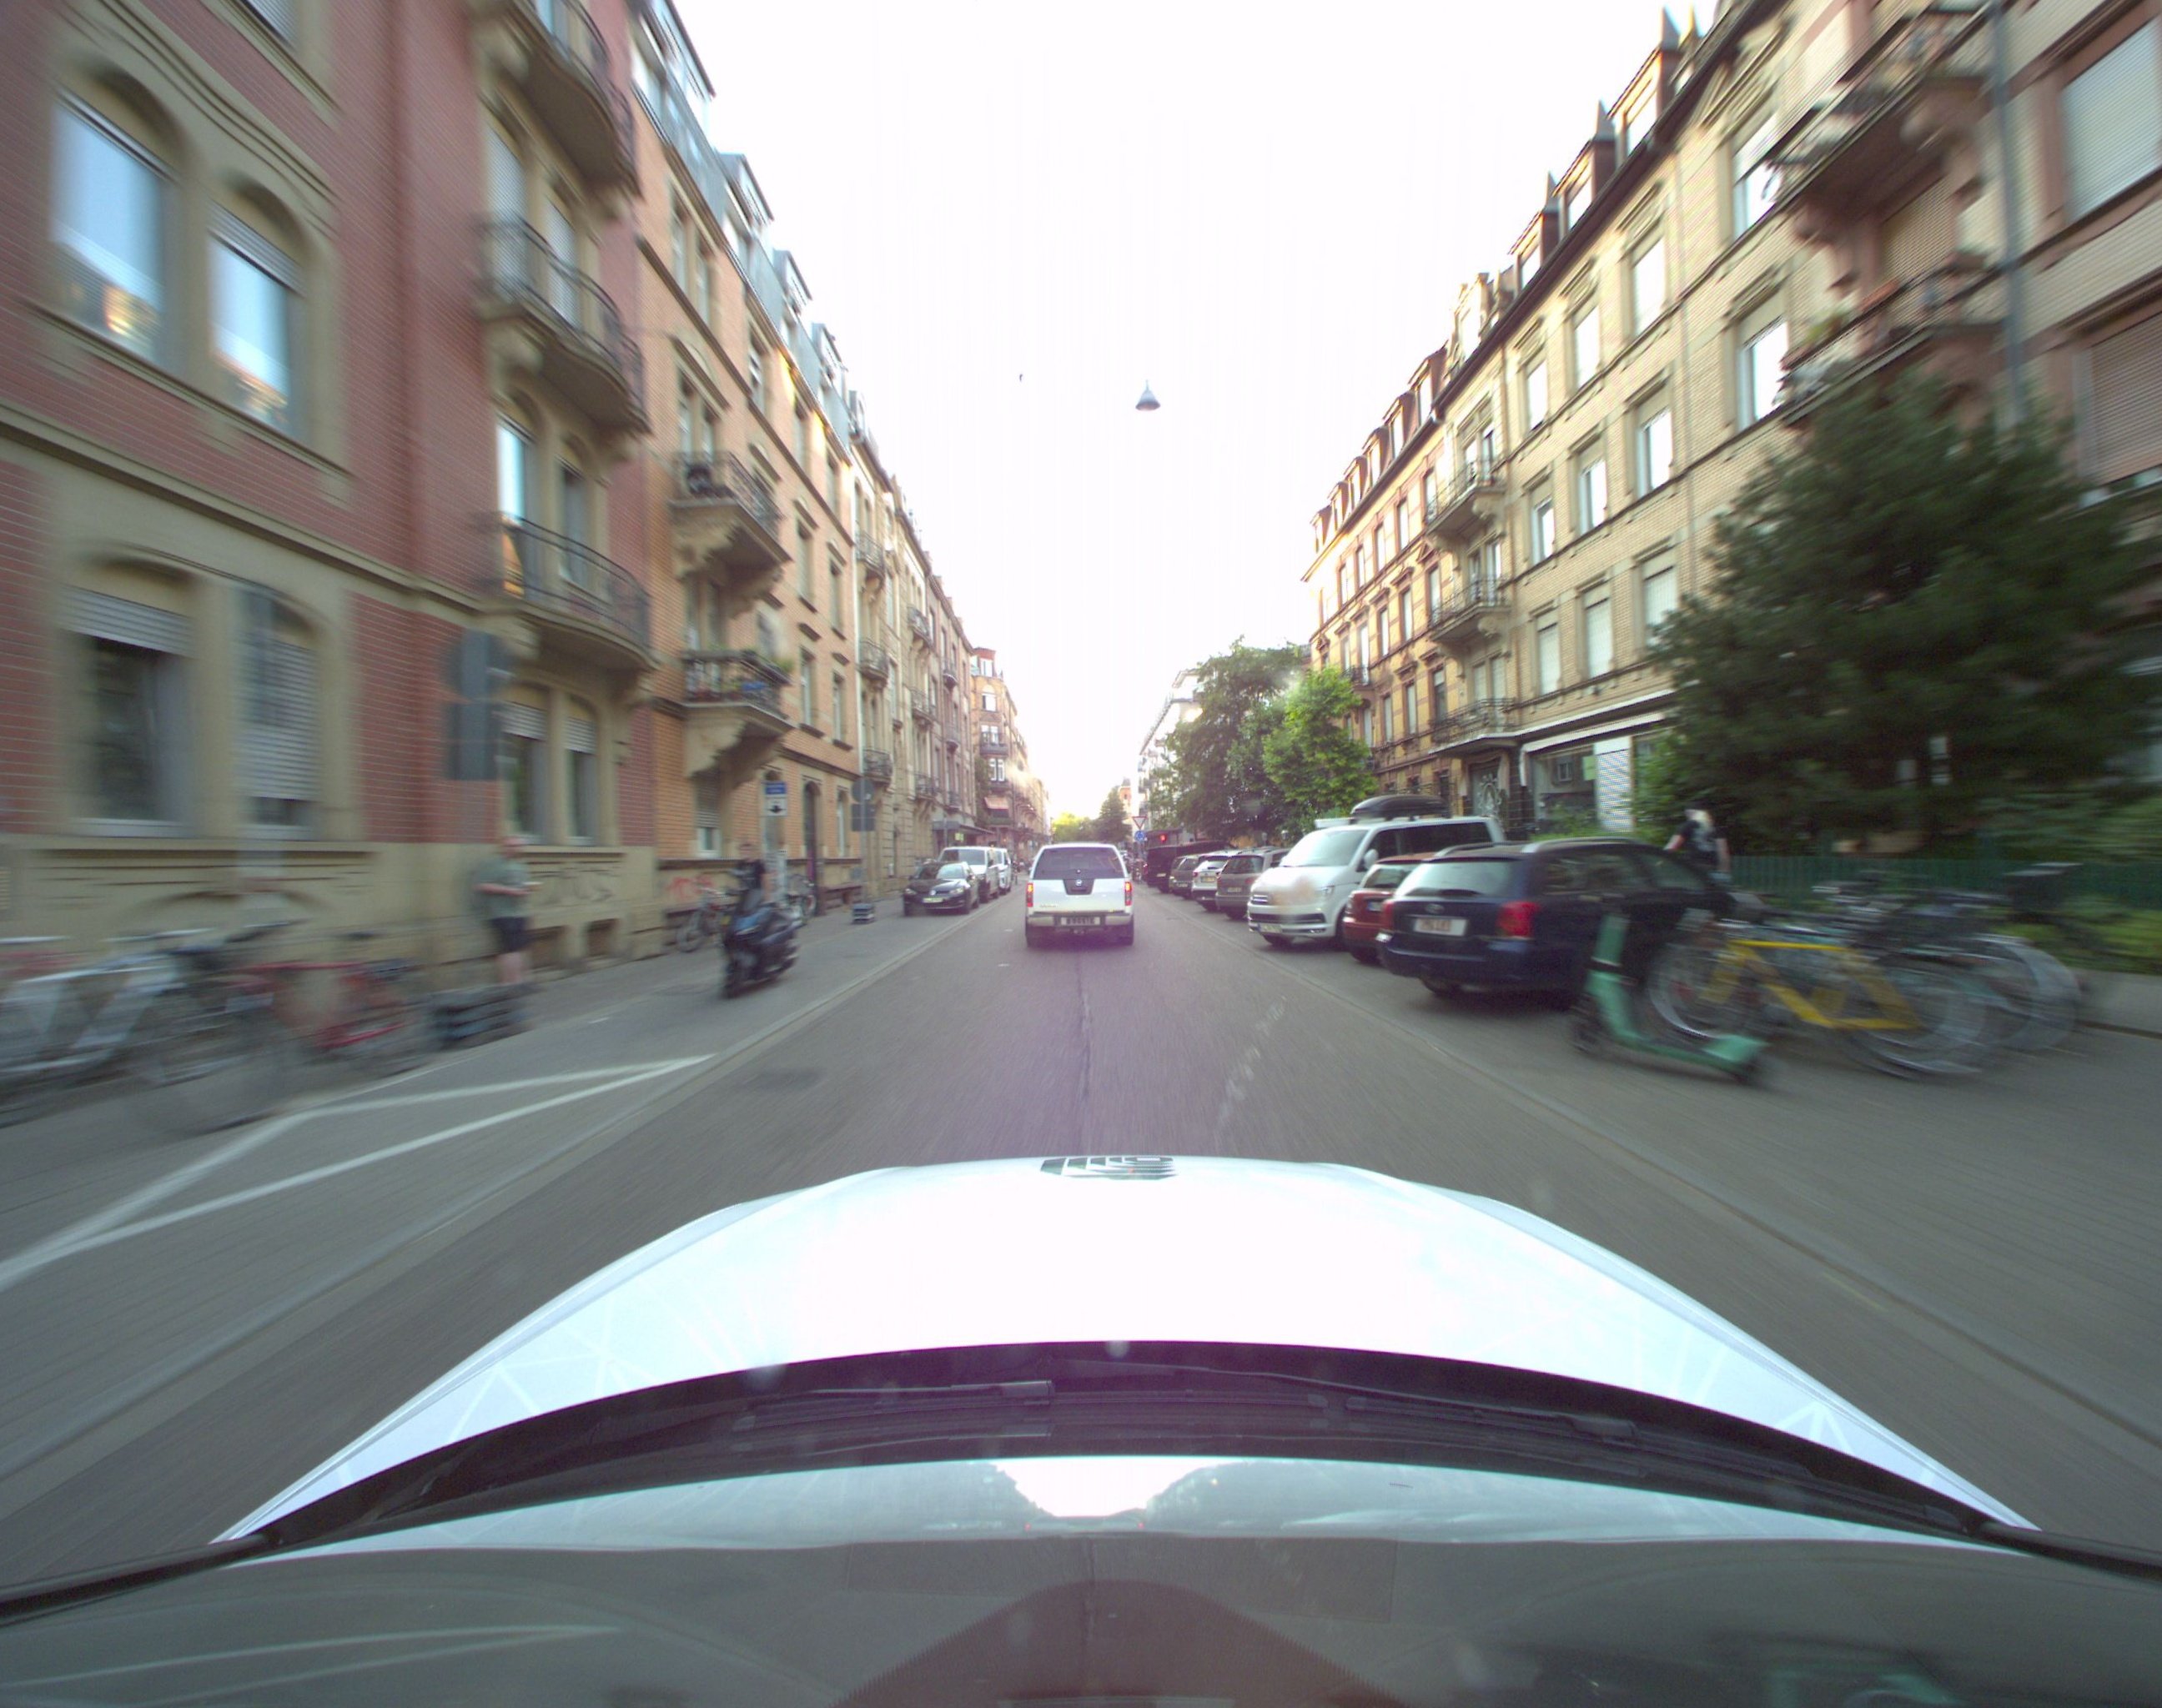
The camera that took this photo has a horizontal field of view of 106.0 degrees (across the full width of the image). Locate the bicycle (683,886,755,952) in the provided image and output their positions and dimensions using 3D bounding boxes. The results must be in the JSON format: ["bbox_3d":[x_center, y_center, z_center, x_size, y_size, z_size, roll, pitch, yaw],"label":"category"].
[{"bbox_3d":[-6.270,1.091,14.180,0.446,1.030,1.740,-1,-1,1],"label":"bicycle"}]

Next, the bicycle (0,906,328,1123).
[{"bbox_3d":[-6.270,0.984,5.615,0.410,1.160,1.838,-1,-1,1],"label":"bicycle"}]

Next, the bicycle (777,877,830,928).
[{"bbox_3d":[-6.417,1.095,18.945,0.749,1.101,2.020,0,-1,-7],"label":"bicycle"}]

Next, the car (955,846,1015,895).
[{"bbox_3d":[-4.067,0.682,35.332,2.104,1.921,5.022,-2,0,-2],"label":"car"}]

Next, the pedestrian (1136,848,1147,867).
[{"bbox_3d":[5.416,0.305,73.054,0.901,1.736,0.615,-1,-1,-4],"label":"pedestrian"}]

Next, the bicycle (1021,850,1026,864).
[{"bbox_3d":[-6.035,0.342,85.305,0.423,1.442,1.901,0,-1,-4],"label":"bicycle"}]

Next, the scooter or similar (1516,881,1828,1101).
[{"bbox_3d":[3.753,0.787,5.315,0.658,1.150,1.472,-4,0,-24],"label":"scooter or similar"}]

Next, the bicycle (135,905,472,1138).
[{"bbox_3d":[-4.888,0.965,5.324,0.410,1.160,1.838,-1,-1,1],"label":"bicycle"}]

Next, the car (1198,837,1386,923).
[{"bbox_3d":[5.032,0.561,19.307,4.181,1.590,1.867,-5,1,-31],"label":"car"}]

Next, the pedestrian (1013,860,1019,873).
[{"bbox_3d":[-6.532,1.226,81.985,0.647,1.286,0.539,-1,-1,-4],"label":"pedestrian"}]

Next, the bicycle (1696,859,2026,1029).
[{"bbox_3d":[6.070,0.640,6.461,0.499,1.136,1.795,-4,1,-34],"label":"bicycle"}]

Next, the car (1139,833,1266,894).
[{"bbox_3d":[5.125,0.348,33.840,5.465,2.072,1.911,-5,1,-39],"label":"car"}]

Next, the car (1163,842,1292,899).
[{"bbox_3d":[5.017,0.535,27.821,4.124,1.551,1.800,-5,1,-32],"label":"car"}]

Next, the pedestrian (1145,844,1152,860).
[{"bbox_3d":[8.062,-0.242,97.580,0.717,1.906,0.702,-1,-1,0],"label":"pedestrian"}]

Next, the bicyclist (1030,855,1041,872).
[{"bbox_3d":[-3.859,0.807,69.102,0.865,1.466,0.578,-1,-1,10],"label":"bicyclist"}]

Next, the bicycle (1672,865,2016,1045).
[{"bbox_3d":[5.626,0.673,6.138,0.499,1.136,1.795,-4,1,-34],"label":"bicycle"}]

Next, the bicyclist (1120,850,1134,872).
[{"bbox_3d":[4.021,0.623,71.337,0.845,1.944,0.775,0,-1,-40],"label":"bicyclist"}]

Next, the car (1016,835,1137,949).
[{"bbox_3d":[0.037,0.638,15.538,1.930,1.810,5.004,-1,-1,2],"label":"car"}]

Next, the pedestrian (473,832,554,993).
[{"bbox_3d":[-6.524,0.654,9.381,0.461,1.789,0.642,-1,-1,3],"label":"pedestrian"}]

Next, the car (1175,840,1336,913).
[{"bbox_3d":[4.795,0.569,22.223,4.123,1.590,1.800,-5,1,-31],"label":"car"}]

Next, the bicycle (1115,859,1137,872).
[{"bbox_3d":[3.907,1.012,71.468,0.845,1.171,1.913,0,-1,-39],"label":"bicycle"}]

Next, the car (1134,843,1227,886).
[{"bbox_3d":[4.825,0.504,39.103,4.246,1.688,1.911,-5,1,-39],"label":"car"}]

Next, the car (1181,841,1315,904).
[{"bbox_3d":[5.261,0.545,25.440,4.130,1.590,1.798,-5,1,-38],"label":"car"}]

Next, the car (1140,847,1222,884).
[{"bbox_3d":[5.238,0.580,42.444,4.064,1.628,1.676,-4,1,-32],"label":"car"}]

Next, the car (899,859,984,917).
[{"bbox_3d":[-3.895,0.893,23.389,1.832,1.471,4.169,-2,0,-2],"label":"car"}]

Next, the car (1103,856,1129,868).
[{"bbox_3d":[5.400,1.274,126.904,3.976,1.750,1.839,-1,-1,-2],"label":"car"}]

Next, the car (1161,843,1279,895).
[{"bbox_3d":[5.218,0.531,30.503,4.124,1.551,1.800,-5,1,-32],"label":"car"}]

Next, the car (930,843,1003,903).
[{"bbox_3d":[-3.985,0.644,29.205,1.830,1.921,4.845,-2,0,1],"label":"car"}]

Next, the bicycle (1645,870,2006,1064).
[{"bbox_3d":[5.163,0.704,5.789,0.499,1.136,1.795,-4,1,-34],"label":"bicycle"}]

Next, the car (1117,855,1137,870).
[{"bbox_3d":[4.896,0.874,86.792,1.829,1.542,3.998,-1,-1,-1],"label":"car"}]

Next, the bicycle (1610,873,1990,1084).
[{"bbox_3d":[4.644,0.715,5.423,0.498,1.136,1.796,-4,1,-31],"label":"bicycle"}]

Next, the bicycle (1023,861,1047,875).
[{"bbox_3d":[-3.930,1.157,69.104,1.917,1.171,0.598,-1,-1,10],"label":"bicycle"}]

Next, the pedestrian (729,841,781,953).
[{"bbox_3d":[-5.467,0.701,13.684,0.683,1.810,0.956,0,-1,-14],"label":"pedestrian"}]

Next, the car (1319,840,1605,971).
[{"bbox_3d":[5.301,0.613,11.218,3.882,1.408,1.740,-3,-1,-33],"label":"car"}]

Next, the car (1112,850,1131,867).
[{"bbox_3d":[4.748,0.538,95.574,1.937,1.934,3.998,-1,-1,-1],"label":"car"}]

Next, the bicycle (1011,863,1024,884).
[{"bbox_3d":[-3.561,1.068,45.603,0.469,1.142,1.786,-1,-1,3],"label":"bicycle"}]

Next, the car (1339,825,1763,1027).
[{"bbox_3d":[4.753,0.558,8.211,3.876,1.516,1.832,-3,0,-27],"label":"car"}]

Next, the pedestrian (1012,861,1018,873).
[{"bbox_3d":[-6.559,1.258,80.798,0.647,1.191,0.539,-1,-1,-4],"label":"pedestrian"}]

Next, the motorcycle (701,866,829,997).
[{"bbox_3d":[-3.723,0.851,9.794,0.682,1.405,2.015,-1,-1,2],"label":"motorcycle"}]

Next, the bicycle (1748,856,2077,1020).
[{"bbox_3d":[6.708,0.611,6.701,0.498,1.136,1.798,-4,1,-27],"label":"bicycle"}]

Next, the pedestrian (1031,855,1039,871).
[{"bbox_3d":[-4.828,0.936,85.299,0.796,1.621,0.943,-1,-1,-3],"label":"pedestrian"}]

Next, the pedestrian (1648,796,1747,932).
[{"bbox_3d":[8.398,0.134,11.133,0.679,1.750,0.830,-5,-1,14],"label":"pedestrian"}]

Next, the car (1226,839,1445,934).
[{"bbox_3d":[5.235,0.585,16.646,4.178,1.590,1.868,-3,0,-29],"label":"car"}]

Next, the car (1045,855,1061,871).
[{"bbox_3d":[-3.175,1.025,92.962,1.829,1.750,3.998,-1,-1,-1],"label":"car"}]

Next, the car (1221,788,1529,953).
[{"bbox_3d":[5.015,0.171,13.772,4.949,2.362,1.983,-3,0,-27],"label":"car"}]
